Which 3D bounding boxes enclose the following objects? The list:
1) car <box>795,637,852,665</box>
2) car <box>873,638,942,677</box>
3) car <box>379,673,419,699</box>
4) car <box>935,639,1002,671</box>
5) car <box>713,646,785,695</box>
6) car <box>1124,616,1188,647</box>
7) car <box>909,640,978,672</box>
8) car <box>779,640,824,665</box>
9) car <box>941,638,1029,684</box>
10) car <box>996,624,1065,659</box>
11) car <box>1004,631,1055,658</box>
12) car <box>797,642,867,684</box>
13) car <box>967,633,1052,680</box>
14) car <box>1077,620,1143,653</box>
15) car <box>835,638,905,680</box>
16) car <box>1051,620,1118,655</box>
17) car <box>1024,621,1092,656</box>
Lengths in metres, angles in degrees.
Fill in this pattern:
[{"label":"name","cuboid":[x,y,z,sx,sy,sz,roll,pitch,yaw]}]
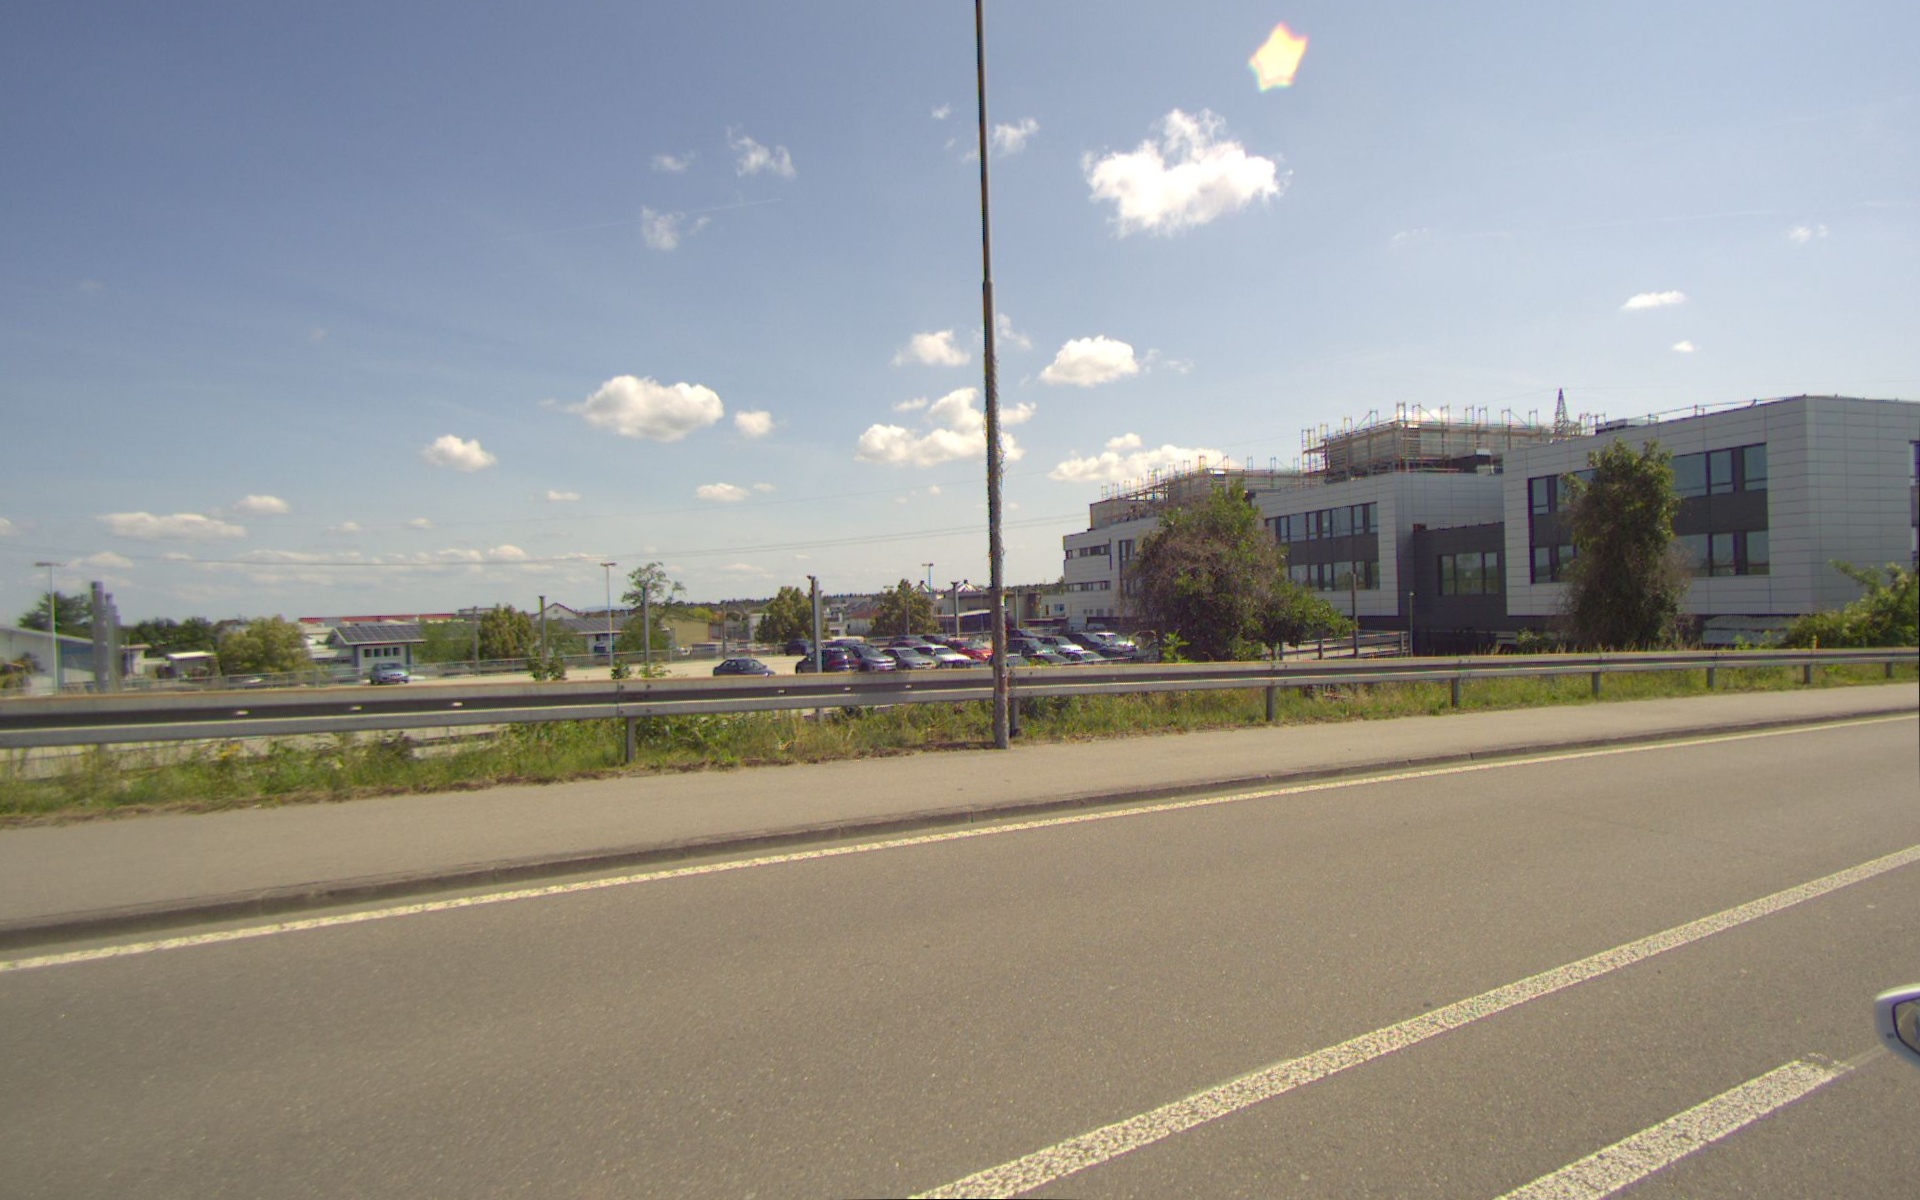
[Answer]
[{"label":"car","cuboid":[-9.682,3.600,71.114,1.987,1.861,3.949,2,-4,-44]},{"label":"car","cuboid":[-2.930,3.158,55.044,1.980,2.040,3.961,1,-3,-35]},{"label":"car","cuboid":[-37.238,5.676,66.639,1.679,1.409,3.770,-3,1,-38]},{"label":"car","cuboid":[0.465,3.182,58.333,1.980,1.731,3.961,1,-3,-35]},{"label":"car","cuboid":[-10.310,3.384,48.920,1.979,2.041,3.962,-3,1,-34]},{"label":"car","cuboid":[13.648,2.169,70.098,1.985,2.040,3.951,-3,1,-42]},{"label":"car","cuboid":[-0.959,3.150,56.654,1.980,1.706,3.961,1,-3,-35]},{"label":"car","cuboid":[-12.566,4.131,79.502,1.848,1.865,3.958,0,-2,-37]},{"label":"car","cuboid":[1.139,2.800,46.817,1.945,1.895,3.953,-3,1,-41]},{"label":"car","cuboid":[4.344,2.525,61.935,1.985,1.929,3.951,-3,1,-42]},{"label":"car","cuboid":[5.740,3.656,83.232,1.984,2.040,3.952,0,0,-41]},{"label":"car","cuboid":[-6.692,3.246,52.153,1.980,2.040,3.961,1,-3,-35]},{"label":"car","cuboid":[2.392,2.742,49.425,1.984,2.040,3.952,-3,1,-41]},{"label":"car","cuboid":[9.902,2.367,66.608,1.985,2.040,3.951,-3,1,-42]},{"label":"car","cuboid":[-4.850,3.125,53.599,1.980,2.040,3.961,-2,-1,-35]},{"label":"car","cuboid":[8.026,2.393,65.089,1.985,2.040,3.951,-3,1,-42]},{"label":"car","cuboid":[6.209,2.420,63.618,1.985,2.040,3.951,-3,1,-42]}]
